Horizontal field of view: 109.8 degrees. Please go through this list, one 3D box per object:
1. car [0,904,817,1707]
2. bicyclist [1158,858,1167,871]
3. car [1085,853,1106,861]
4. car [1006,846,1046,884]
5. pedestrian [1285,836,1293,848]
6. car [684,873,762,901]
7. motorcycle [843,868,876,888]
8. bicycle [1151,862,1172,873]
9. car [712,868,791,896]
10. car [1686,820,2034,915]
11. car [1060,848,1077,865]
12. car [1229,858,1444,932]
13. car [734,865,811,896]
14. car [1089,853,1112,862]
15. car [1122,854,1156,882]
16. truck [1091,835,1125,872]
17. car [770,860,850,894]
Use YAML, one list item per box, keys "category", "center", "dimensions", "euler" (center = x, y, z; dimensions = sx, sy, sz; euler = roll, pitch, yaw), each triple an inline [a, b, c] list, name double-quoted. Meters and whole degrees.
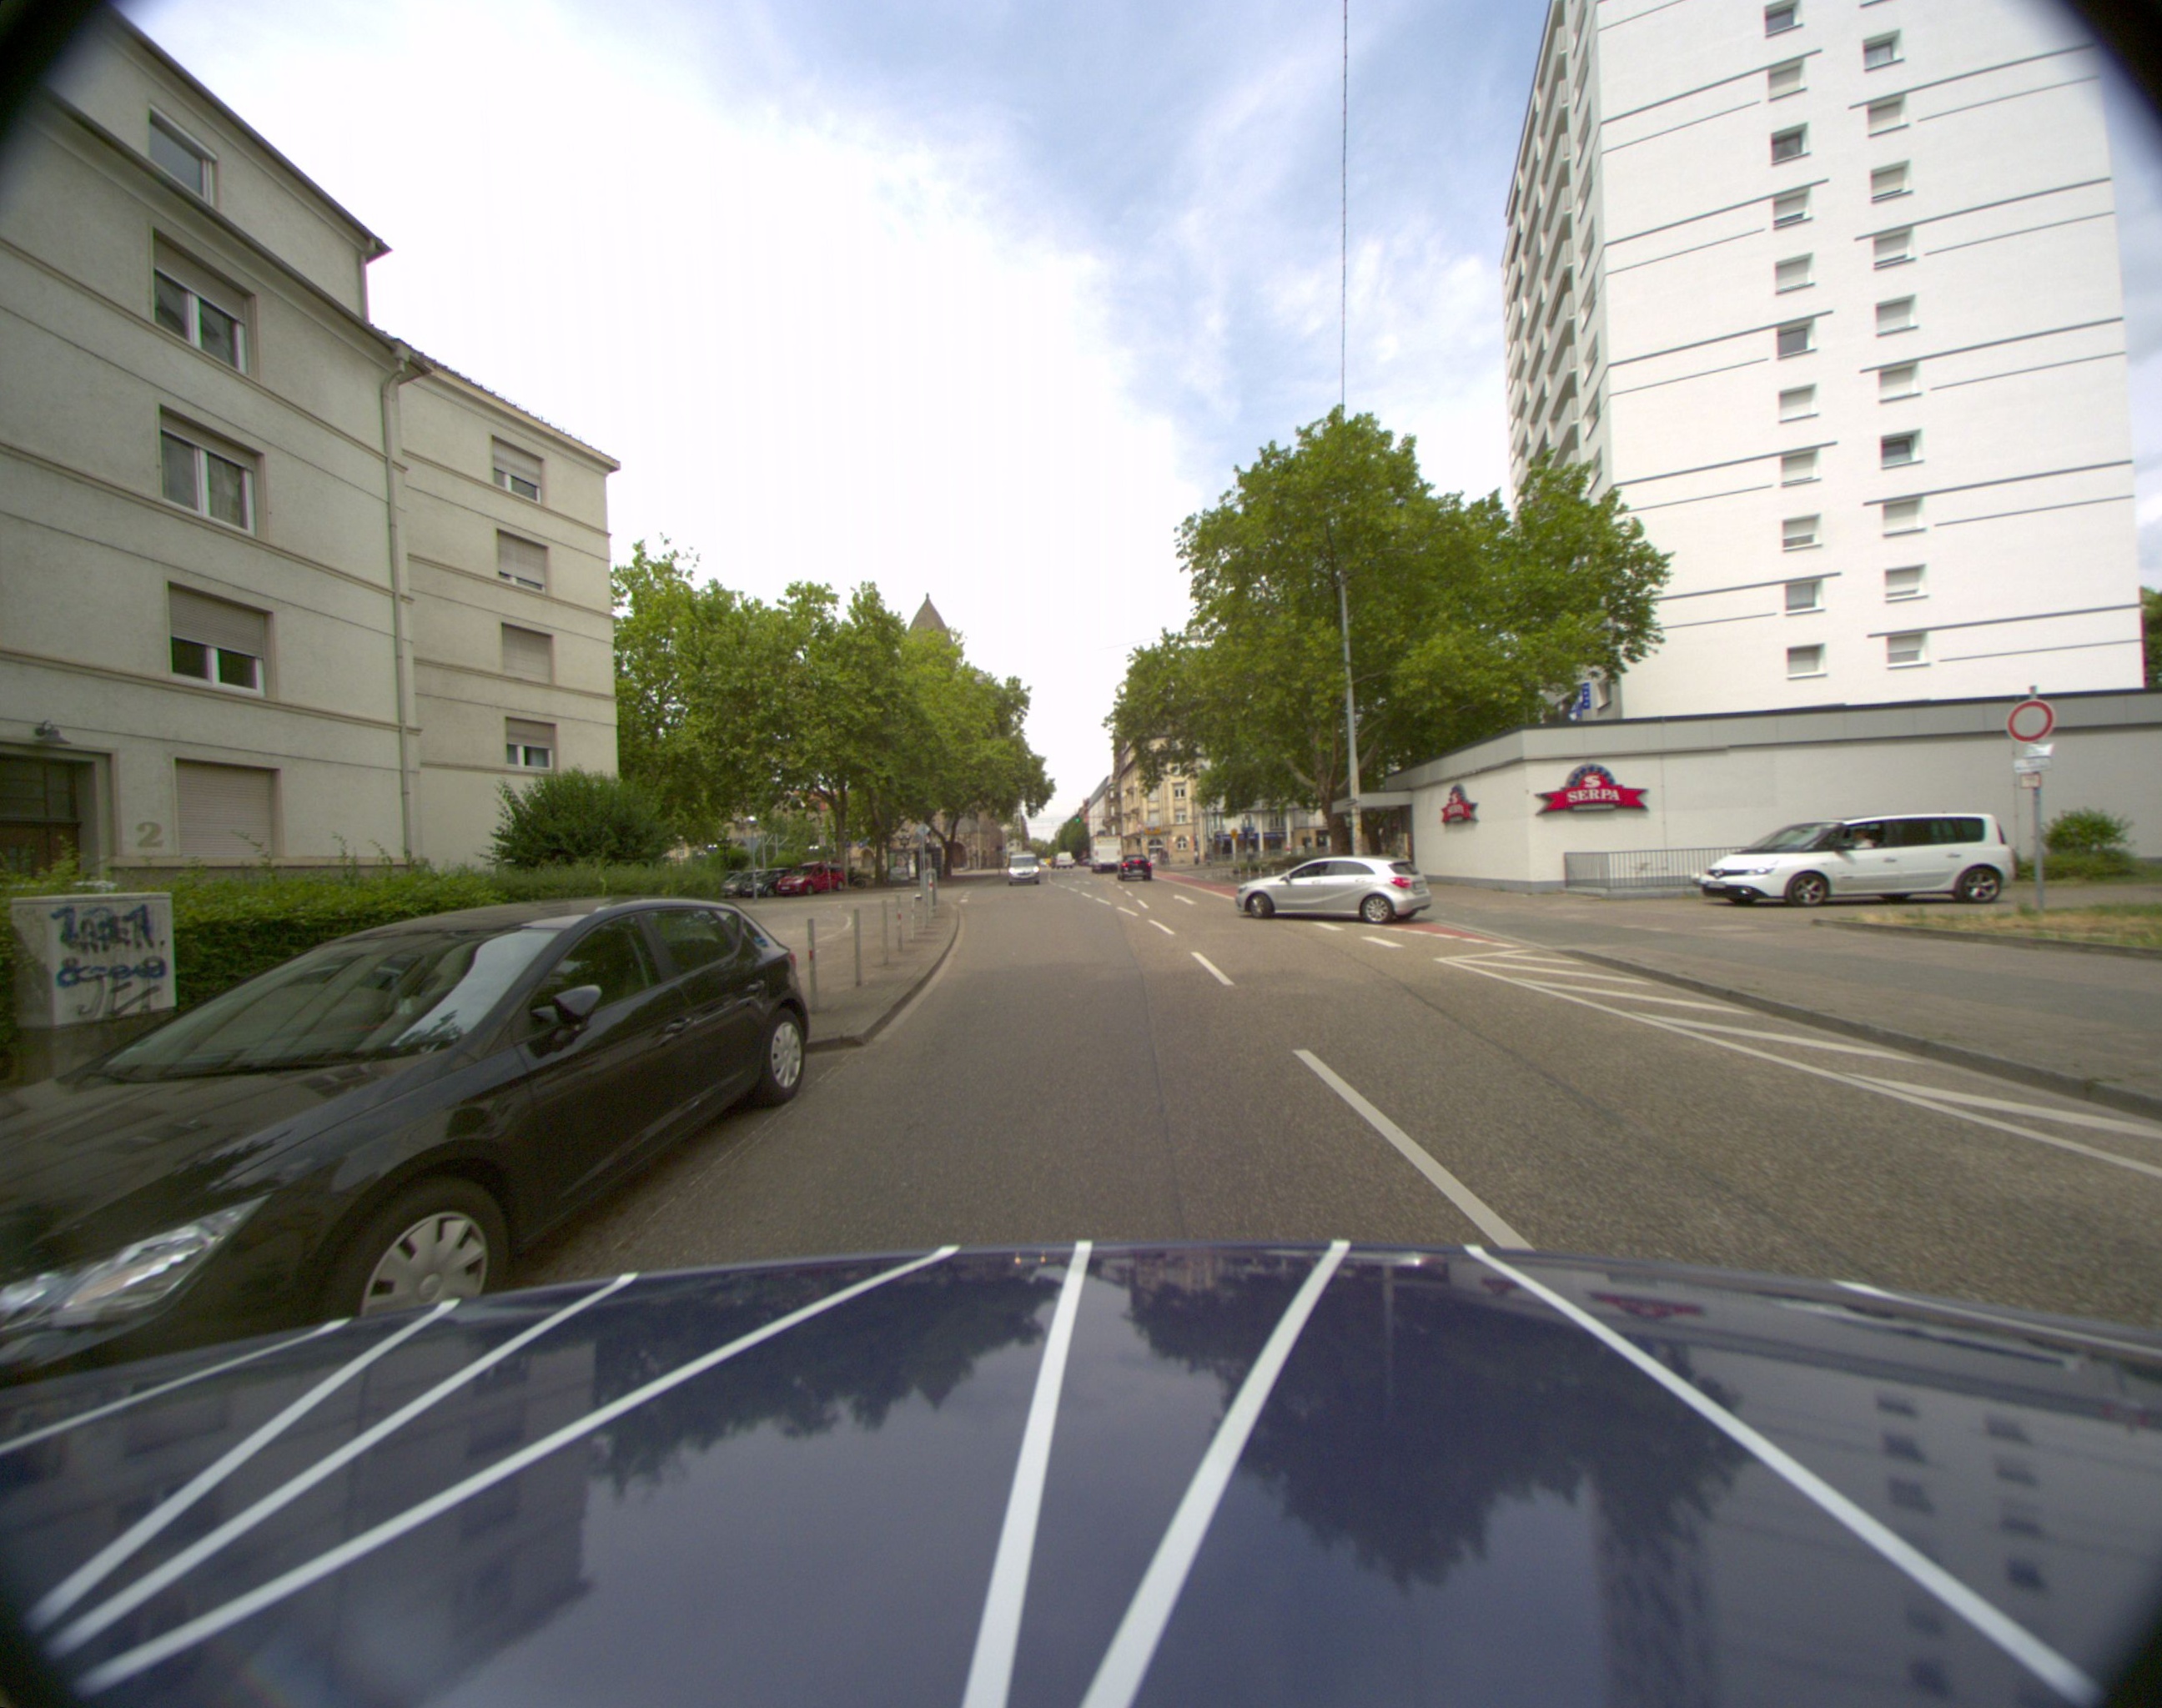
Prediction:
- category: "car"
  center: [-2.982, 1.137, 3.313]
  dimensions: [1.922, 1.436, 4.239]
  euler: [-4, 0, 3]
- category: "bicyclist"
  center: [8.051, 1.051, 75.463]
  dimensions: [0.751, 1.334, 0.492]
  euler: [-3, -1, 17]
- category: "car"
  center: [2.794, 0.614, 150.253]
  dimensions: [3.835, 1.526, 1.755]
  euler: [-2, -1, -37]
- category: "car"
  center: [-3.158, 0.626, 44.803]
  dimensions: [2.082, 2.038, 4.680]
  euler: [-2, -1, -2]
- category: "pedestrian"
  center: [25.352, -1.464, 92.719]
  dimensions: [0.837, 1.543, 0.869]
  euler: [-2, 1, 21]
- category: "car"
  center: [-21.534, 1.942, 45.888]
  dimensions: [1.996, 1.455, 4.005]
  euler: [-2, 0, 17]
- category: "motorcycle"
  center: [-13.973, 1.512, 47.919]
  dimensions: [1.859, 1.215, 0.531]
  euler: [-2, -1, -6]
- category: "bicycle"
  center: [8.023, 1.340, 75.435]
  dimensions: [1.967, 1.088, 0.628]
  euler: [-1, 0, 18]
- category: "car"
  center: [-19.386, 1.619, 44.908]
  dimensions: [1.747, 1.455, 4.190]
  euler: [-2, 0, 21]
- category: "car"
  center: [15.161, 0.274, 15.055]
  dimensions: [4.640, 1.676, 1.850]
  euler: [-1, 0, 8]
- category: "car"
  center: [-1.576, 0.377, 94.097]
  dimensions: [1.929, 1.925, 4.946]
  euler: [-3, -1, -3]
- category: "car"
  center: [5.688, 0.873, 17.148]
  dimensions: [4.173, 1.442, 1.853]
  euler: [-2, 0, 39]
- category: "car"
  center: [-17.424, 1.478, 43.083]
  dimensions: [1.829, 1.543, 4.005]
  euler: [-2, 0, 17]
- category: "car"
  center: [3.460, 0.613, 134.902]
  dimensions: [3.835, 1.526, 1.755]
  euler: [-2, -1, -42]
- category: "car"
  center: [3.365, 0.804, 44.902]
  dimensions: [1.701, 1.509, 4.000]
  euler: [-1, 0, 0]
- category: "truck"
  center: [2.315, -0.003, 67.212]
  dimensions: [2.548, 3.089, 7.019]
  euler: [0, 0, -1]
- category: "car"
  center: [-15.000, 1.251, 42.335]
  dimensions: [1.935, 1.696, 4.336]
  euler: [-2, 0, 17]
